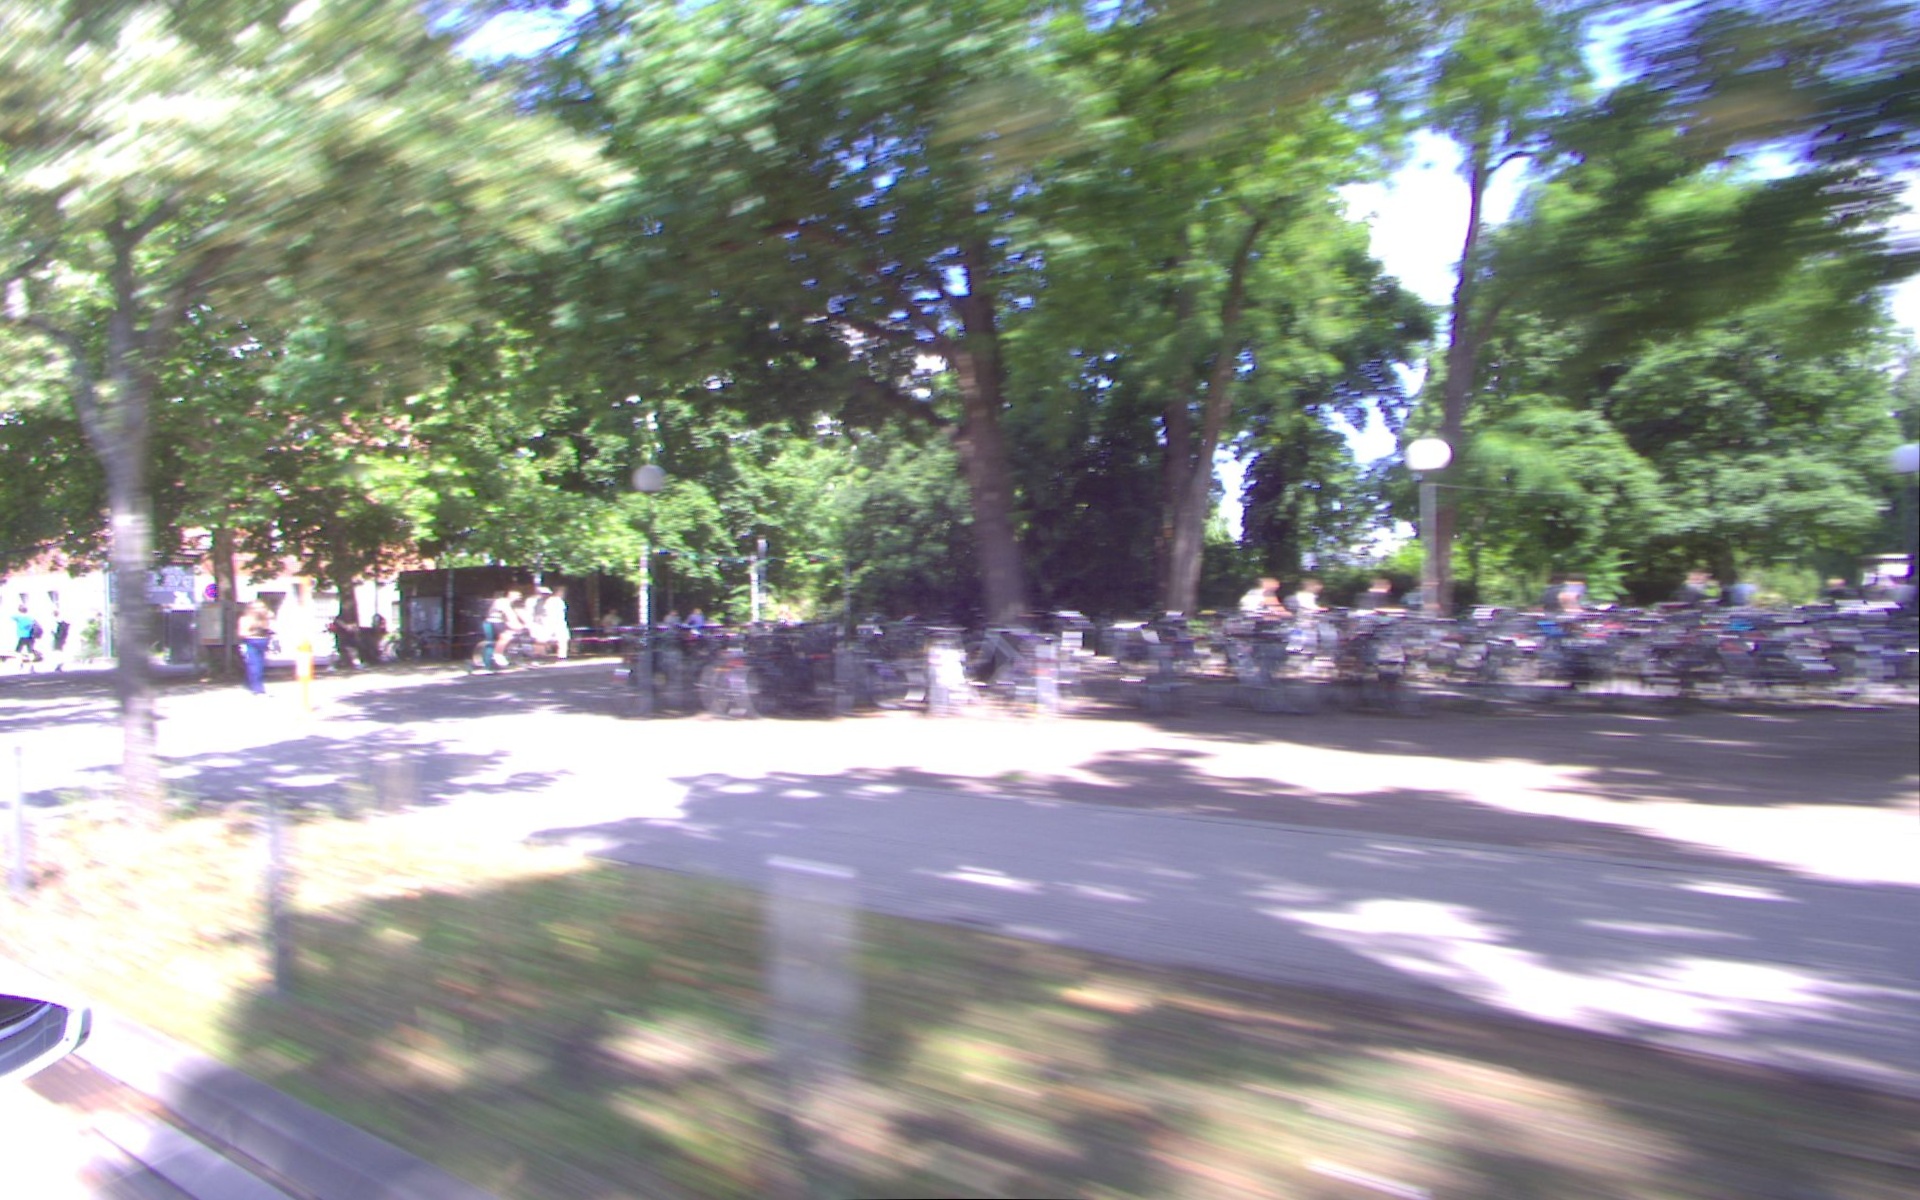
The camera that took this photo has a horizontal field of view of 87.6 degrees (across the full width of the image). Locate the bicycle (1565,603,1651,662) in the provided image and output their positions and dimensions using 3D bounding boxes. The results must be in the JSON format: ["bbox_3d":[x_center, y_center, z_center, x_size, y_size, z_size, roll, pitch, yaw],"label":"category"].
[{"bbox_3d":[11.728,0.564,18.192,0.371,0.992,1.903,-1,0,2],"label":"bicycle"}]

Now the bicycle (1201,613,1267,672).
[{"bbox_3d":[4.981,0.745,18.307,0.469,0.992,1.903,-1,0,-7],"label":"bicycle"}]

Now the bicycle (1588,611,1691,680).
[{"bbox_3d":[10.675,0.688,15.803,0.371,0.992,1.903,-1,0,2],"label":"bicycle"}]

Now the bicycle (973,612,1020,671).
[{"bbox_3d":[0.698,0.746,18.548,0.601,0.992,1.902,-1,1,10],"label":"bicycle"}]

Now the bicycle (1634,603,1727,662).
[{"bbox_3d":[13.083,0.559,18.235,0.371,0.992,1.903,-1,0,2],"label":"bicycle"}]

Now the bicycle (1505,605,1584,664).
[{"bbox_3d":[10.585,0.603,18.191,0.371,0.992,1.903,-1,0,2],"label":"bicycle"}]

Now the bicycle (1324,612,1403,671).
[{"bbox_3d":[7.330,0.730,18.266,0.469,0.992,1.903,-1,0,-7],"label":"bicycle"}]

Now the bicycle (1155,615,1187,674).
[{"bbox_3d":[3.868,0.789,18.395,0.434,0.992,1.903,-1,1,8],"label":"bicycle"}]

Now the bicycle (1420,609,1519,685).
[{"bbox_3d":[8.002,0.704,15.830,0.469,1.097,1.903,-1,1,-4],"label":"bicycle"}]

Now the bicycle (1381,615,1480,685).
[{"bbox_3d":[7.385,0.762,15.821,0.469,0.992,1.903,-1,0,-7],"label":"bicycle"}]

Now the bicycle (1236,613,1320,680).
[{"bbox_3d":[5.134,0.722,16.282,0.469,0.992,1.902,-1,0,-9],"label":"bicycle"}]

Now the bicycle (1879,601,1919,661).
[{"bbox_3d":[16.412,0.524,16.607,0.469,0.992,1.903,-1,0,-6],"label":"bicycle"}]

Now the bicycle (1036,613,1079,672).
[{"bbox_3d":[1.796,0.765,18.664,0.526,0.992,1.903,-1,0,-2],"label":"bicycle"}]

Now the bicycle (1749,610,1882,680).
[{"bbox_3d":[13.707,0.690,16.103,0.469,1.036,1.742,-1,1,-9],"label":"bicycle"}]

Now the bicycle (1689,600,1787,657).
[{"bbox_3d":[14.243,0.497,18.387,0.371,0.992,1.903,-1,0,2],"label":"bicycle"}]

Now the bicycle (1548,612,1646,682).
[{"bbox_3d":[9.936,0.699,15.683,0.371,0.992,1.903,-1,0,2],"label":"bicycle"}]

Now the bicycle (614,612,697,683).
[{"bbox_3d":[-5.278,0.803,17.470,0.601,1.133,1.808,-1,1,10],"label":"bicycle"}]

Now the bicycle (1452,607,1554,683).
[{"bbox_3d":[8.580,0.679,15.917,0.469,1.097,1.903,-1,1,-4],"label":"bicycle"}]

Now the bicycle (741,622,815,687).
[{"bbox_3d":[-3.063,0.899,17.035,0.601,0.992,1.902,-1,1,10],"label":"bicycle"}]

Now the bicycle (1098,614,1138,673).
[{"bbox_3d":[2.912,0.783,18.563,0.469,0.992,1.903,-1,0,2],"label":"bicycle"}]

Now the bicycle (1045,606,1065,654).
[{"bbox_3d":[2.332,0.713,24.541,0.469,1.108,1.752,-1,1,6],"label":"bicycle"}]

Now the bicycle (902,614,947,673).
[{"bbox_3d":[-0.641,0.779,18.615,0.469,0.992,1.903,-1,1,9],"label":"bicycle"}]

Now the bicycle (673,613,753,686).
[{"bbox_3d":[-4.228,0.821,17.298,0.601,1.133,1.902,-1,1,10],"label":"bicycle"}]

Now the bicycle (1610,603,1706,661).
[{"bbox_3d":[12.674,0.555,18.254,0.469,0.992,1.903,-1,0,2],"label":"bicycle"}]

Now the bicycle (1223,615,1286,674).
[{"bbox_3d":[5.411,0.790,18.475,0.371,0.992,1.903,-1,0,-7],"label":"bicycle"}]

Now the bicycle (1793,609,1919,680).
[{"bbox_3d":[14.384,0.679,16.021,0.469,1.036,1.742,-1,1,-9],"label":"bicycle"}]

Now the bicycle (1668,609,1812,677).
[{"bbox_3d":[12.186,0.641,15.723,0.372,0.992,1.900,-2,1,-18],"label":"bicycle"}]

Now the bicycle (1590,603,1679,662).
[{"bbox_3d":[12.125,0.561,18.063,0.371,0.992,1.903,-1,0,2],"label":"bicycle"}]

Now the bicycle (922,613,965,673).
[{"bbox_3d":[-0.284,0.769,18.514,0.469,0.992,1.903,-1,1,9],"label":"bicycle"}]

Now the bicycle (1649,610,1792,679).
[{"bbox_3d":[11.768,0.657,15.580,0.372,0.992,1.900,-2,1,-18],"label":"bicycle"}]

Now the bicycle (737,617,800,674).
[{"bbox_3d":[-3.658,0.855,19.270,0.469,0.992,1.902,-1,1,12],"label":"bicycle"}]

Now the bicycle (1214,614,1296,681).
[{"bbox_3d":[4.746,0.734,16.218,0.469,0.992,1.902,-1,0,-9],"label":"bicycle"}]

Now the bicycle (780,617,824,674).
[{"bbox_3d":[-3.013,0.840,19.228,0.413,0.992,1.903,-1,0,4],"label":"bicycle"}]

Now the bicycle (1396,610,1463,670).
[{"bbox_3d":[8.593,0.707,18.393,0.371,0.992,1.903,-1,0,2],"label":"bicycle"}]

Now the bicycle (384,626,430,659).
[{"bbox_3d":[-20.107,1.532,36.409,1.997,1.155,0.572,-1,0,32],"label":"bicycle"}]

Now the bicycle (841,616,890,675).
[{"bbox_3d":[-1.751,0.826,18.775,0.413,0.992,1.902,-1,1,10],"label":"bicycle"}]

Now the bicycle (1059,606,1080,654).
[{"bbox_3d":[2.673,0.705,24.510,0.469,1.108,1.752,-1,1,6],"label":"bicycle"}]

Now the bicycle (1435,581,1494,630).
[{"bbox_3d":[12.100,0.126,24.046,0.469,1.108,1.610,-1,1,-6],"label":"bicycle"}]

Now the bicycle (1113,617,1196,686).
[{"bbox_3d":[3.076,0.788,16.013,0.470,0.992,1.900,-2,1,-16],"label":"bicycle"}]

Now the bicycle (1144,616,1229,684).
[{"bbox_3d":[3.620,0.775,16.171,0.470,0.992,1.900,-2,1,-16],"label":"bicycle"}]

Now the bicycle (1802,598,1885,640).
[{"bbox_3d":[21.739,0.453,24.641,1.720,0.944,0.585,-2,3,-11],"label":"bicycle"}]

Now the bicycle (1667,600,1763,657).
[{"bbox_3d":[13.828,0.497,18.402,0.371,0.992,1.903,-1,0,2],"label":"bicycle"}]

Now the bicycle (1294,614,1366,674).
[{"bbox_3d":[6.620,0.766,18.008,0.371,0.992,1.903,-1,0,-7],"label":"bicycle"}]

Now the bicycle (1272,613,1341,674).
[{"bbox_3d":[6.208,0.756,18.024,0.371,0.992,1.903,-1,0,-7],"label":"bicycle"}]

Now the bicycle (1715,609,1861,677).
[{"bbox_3d":[13.017,0.647,15.815,0.372,0.992,1.900,-2,1,-16],"label":"bicycle"}]

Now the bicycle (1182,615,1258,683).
[{"bbox_3d":[4.186,0.764,16.247,0.469,0.992,1.902,-1,0,-9],"label":"bicycle"}]

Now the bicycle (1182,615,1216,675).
[{"bbox_3d":[4.371,0.794,18.352,0.300,0.992,1.884,-1,0,5],"label":"bicycle"}]

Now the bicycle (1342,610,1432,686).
[{"bbox_3d":[6.673,0.719,15.757,0.469,1.097,1.903,-1,1,-4],"label":"bicycle"}]

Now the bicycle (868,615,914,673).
[{"bbox_3d":[-1.278,0.795,18.852,0.413,0.992,1.902,-1,1,10],"label":"bicycle"}]

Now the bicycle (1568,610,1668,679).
[{"bbox_3d":[10.349,0.676,15.820,0.371,0.992,1.903,-1,0,2],"label":"bicycle"}]

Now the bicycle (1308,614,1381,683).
[{"bbox_3d":[6.072,0.734,15.903,0.469,0.992,1.903,-1,0,2],"label":"bicycle"}]

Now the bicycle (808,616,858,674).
[{"bbox_3d":[-2.391,0.831,19.058,0.469,0.992,1.903,-1,1,7],"label":"bicycle"}]

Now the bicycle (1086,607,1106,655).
[{"bbox_3d":[3.360,0.740,24.718,0.341,1.108,1.609,-1,1,13],"label":"bicycle"}]

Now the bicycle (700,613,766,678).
[{"bbox_3d":[-4.442,0.867,19.719,0.469,1.158,1.902,-1,1,12],"label":"bicycle"}]

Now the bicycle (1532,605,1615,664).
[{"bbox_3d":[11.011,0.591,18.029,0.371,0.992,1.903,-1,0,2],"label":"bicycle"}]

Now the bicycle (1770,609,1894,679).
[{"bbox_3d":[14.062,0.680,16.201,0.288,1.036,1.742,-1,1,-9],"label":"bicycle"}]

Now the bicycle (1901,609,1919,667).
[{"bbox_3d":[16.867,0.652,16.624,0.469,0.992,1.902,-1,1,-11],"label":"bicycle"}]
